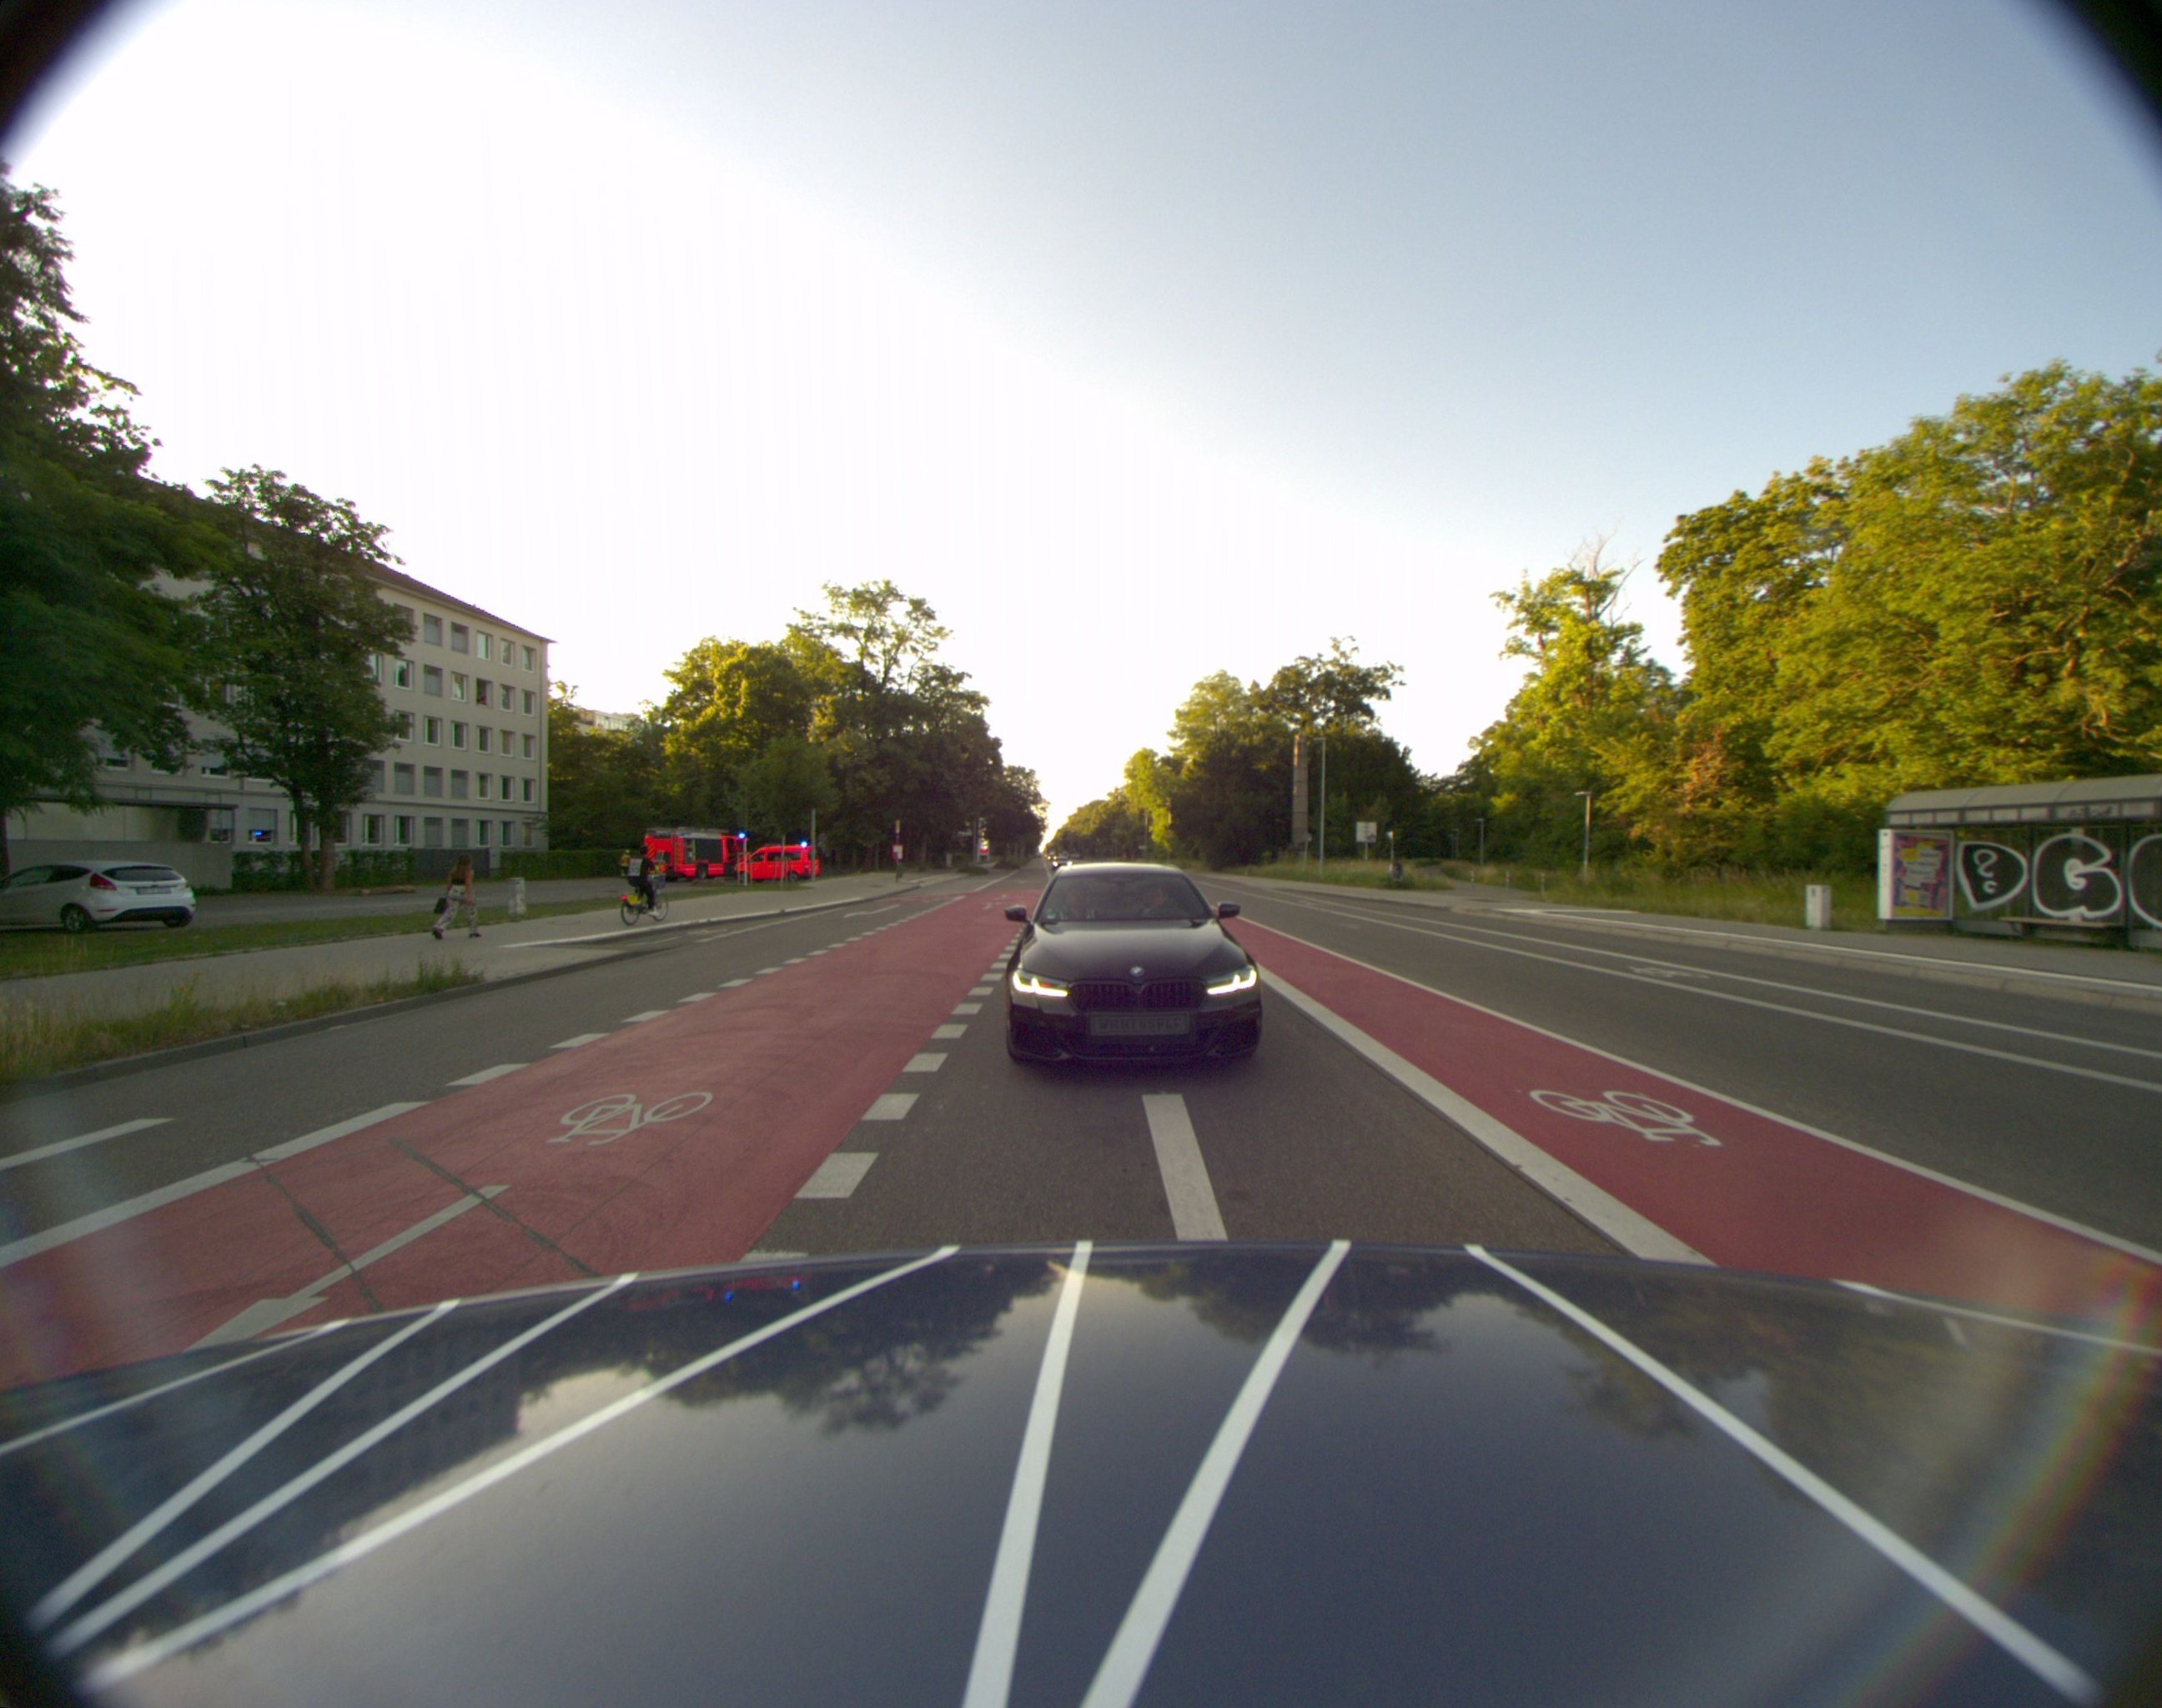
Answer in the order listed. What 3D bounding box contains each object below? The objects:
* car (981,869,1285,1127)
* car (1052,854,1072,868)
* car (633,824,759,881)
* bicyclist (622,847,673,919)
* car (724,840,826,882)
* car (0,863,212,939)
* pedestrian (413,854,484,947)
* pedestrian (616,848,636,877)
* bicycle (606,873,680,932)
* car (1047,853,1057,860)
[{"bbox_3d":[0.322,0.937,7.277,1.818,1.391,5.213,-2,0,0],"label":"car"},{"bbox_3d":[-1.869,0.670,75.811,1.850,1.346,4.702,-2,0,-1],"label":"car"},{"bbox_3d":[-23.622,-0.131,47.235,2.770,3.225,8.301,0,0,7],"label":"car"},{"bbox_3d":[-9.976,0.646,17.506,0.571,1.623,1.038,0,1,1],"label":"bicyclist"},{"bbox_3d":[-17.941,0.399,44.706,5.164,2.379,2.000,0,1,3],"label":"car"},{"bbox_3d":[-20.818,0.927,15.877,3.662,1.451,1.665,0,1,5],"label":"car"},{"bbox_3d":[-11.305,0.810,13.604,0.682,1.613,0.688,0,0,1],"label":"pedestrian"},{"bbox_3d":[-29.563,0.558,49.363,0.845,1.831,0.683,0,0,1],"label":"pedestrian"},{"bbox_3d":[-9.978,1.070,17.395,0.571,1.233,1.899,0,1,1],"label":"bicycle"},{"bbox_3d":[-6.301,0.586,166.489,1.850,1.473,4.703,-2,0,0],"label":"car"}]
